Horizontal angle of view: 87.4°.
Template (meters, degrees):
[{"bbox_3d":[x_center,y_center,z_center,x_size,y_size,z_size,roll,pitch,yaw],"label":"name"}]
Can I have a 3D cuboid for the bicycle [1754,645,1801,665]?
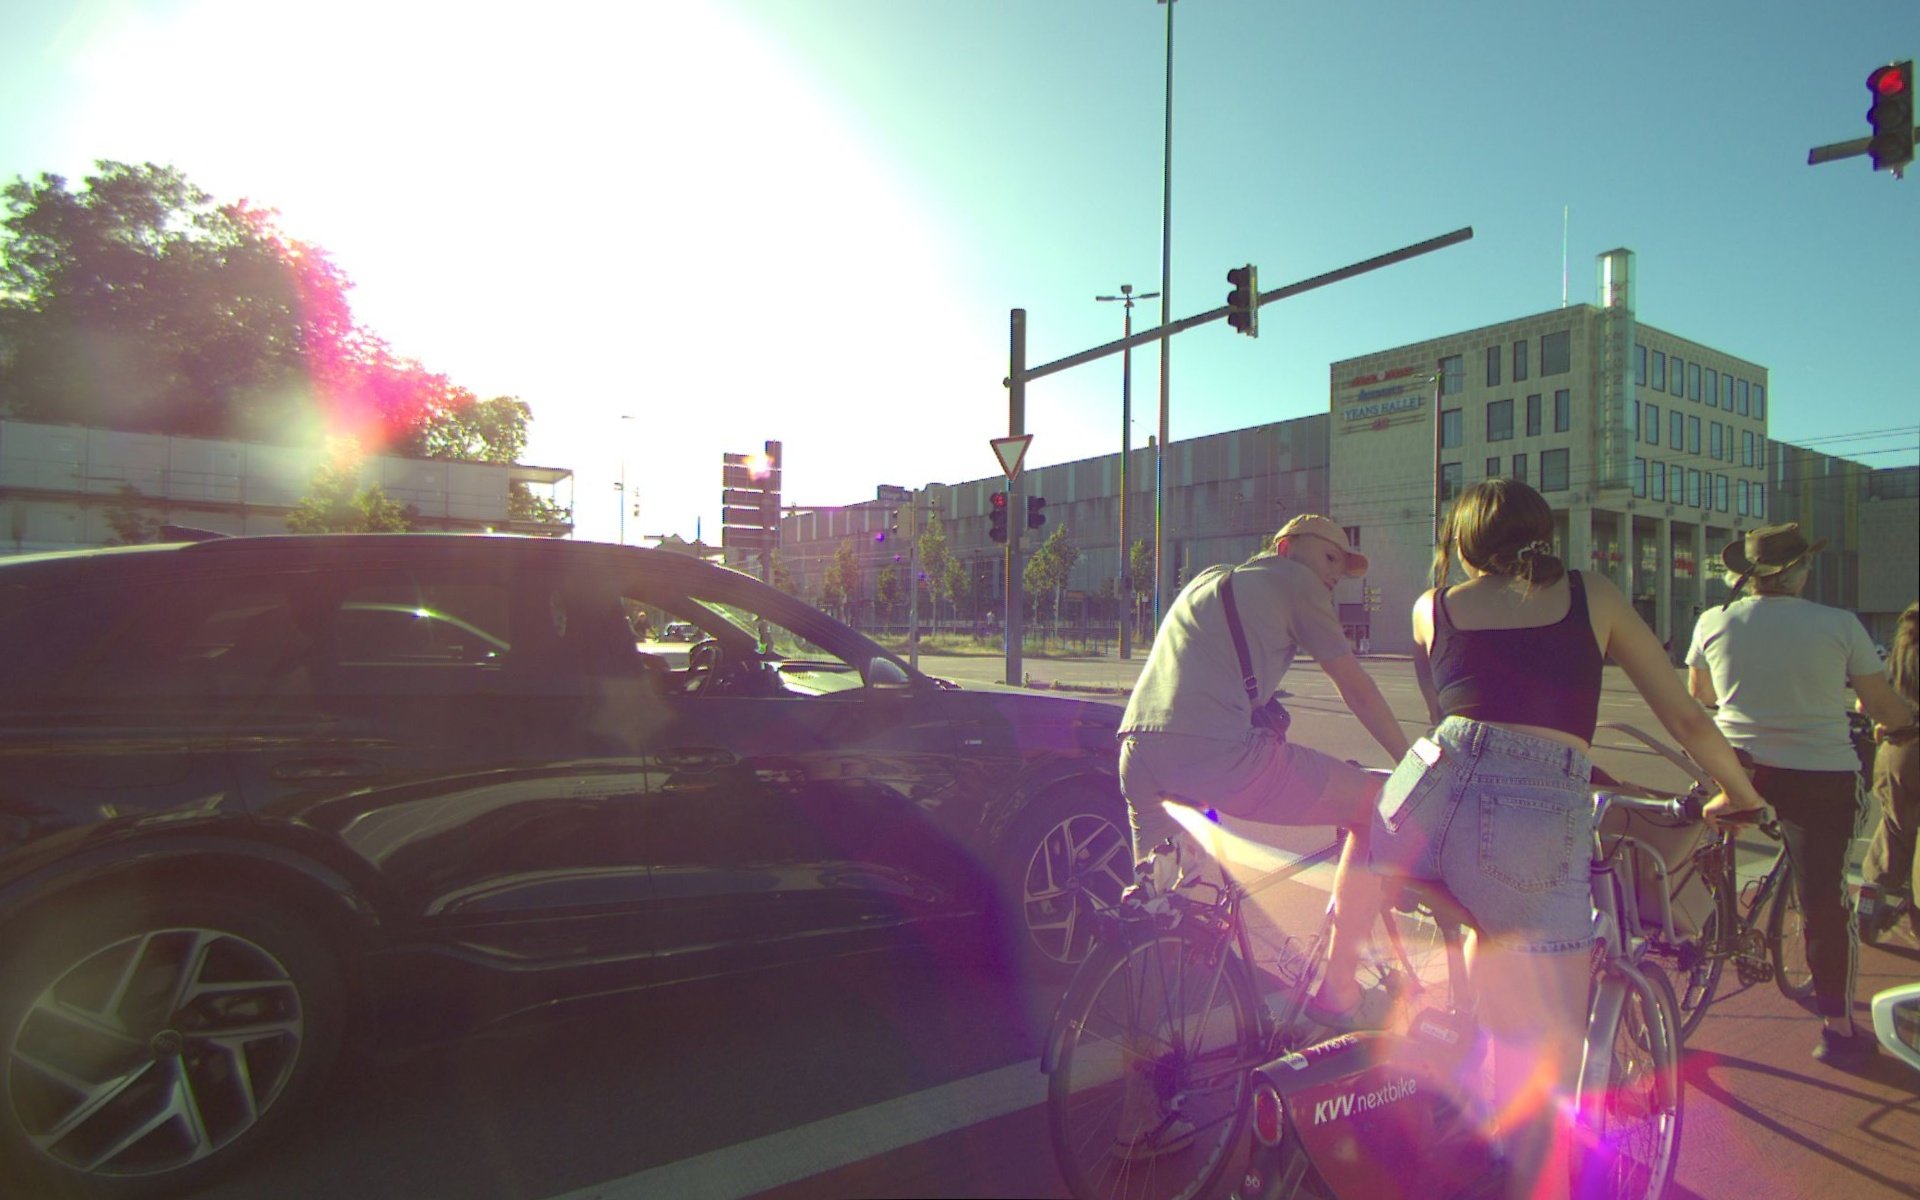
[{"bbox_3d":[52.902,3.545,65.021,0.605,1.238,2.295,1,-1,-31],"label":"bicycle"}]

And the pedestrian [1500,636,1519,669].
[{"bbox_3d":[33.224,3.174,60.694,0.780,1.910,0.709,2,0,-37],"label":"pedestrian"}]

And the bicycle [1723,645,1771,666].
[{"bbox_3d":[48.047,3.377,61.342,0.605,1.238,2.295,1,-1,-31],"label":"bicycle"}]

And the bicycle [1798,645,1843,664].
[{"bbox_3d":[59.824,3.781,69.855,0.605,1.238,2.295,1,-1,-31],"label":"bicycle"}]

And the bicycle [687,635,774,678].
[{"bbox_3d":[-8.278,2.031,36.269,2.905,1.388,0.970,2,0,16],"label":"bicycle"}]

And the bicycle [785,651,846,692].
[{"bbox_3d":[-5.699,2.787,39.415,0.962,1.388,2.930,2,0,-40],"label":"bicycle"}]

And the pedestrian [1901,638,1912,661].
[{"bbox_3d":[71.099,3.689,75.457,0.579,1.702,0.516,1,1,-43],"label":"pedestrian"}]

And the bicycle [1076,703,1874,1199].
[{"bbox_3d":[1.134,0.892,2.043,1.811,1.234,0.612,1,0,-33],"label":"bicycle"}]

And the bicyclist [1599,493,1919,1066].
[{"bbox_3d":[2.865,0.556,3.561,0.856,1.743,0.657,2,0,-30],"label":"bicyclist"}]

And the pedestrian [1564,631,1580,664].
[{"bbox_3d":[35.630,2.740,58.429,0.784,1.868,0.862,0,-1,32],"label":"pedestrian"}]

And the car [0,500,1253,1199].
[{"bbox_3d":[-1.158,0.630,3.879,4.630,1.656,1.760,1,0,-32],"label":"car"}]

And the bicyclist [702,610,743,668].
[{"bbox_3d":[-8.588,1.386,36.370,1.078,2.040,0.961,2,0,16],"label":"bicyclist"}]

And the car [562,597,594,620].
[{"bbox_3d":[-32.933,0.717,86.524,1.785,1.908,3.964,2,0,-33],"label":"car"}]

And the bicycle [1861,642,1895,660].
[{"bbox_3d":[67.300,3.761,73.660,1.774,1.223,0.512,1,0,13],"label":"bicycle"}]

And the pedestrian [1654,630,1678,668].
[{"bbox_3d":[39.066,2.726,55.568,0.767,2.040,0.876,2,0,-41],"label":"pedestrian"}]

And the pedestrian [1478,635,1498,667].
[{"bbox_3d":[32.333,3.118,61.493,0.710,1.910,0.779,2,0,-36],"label":"pedestrian"}]

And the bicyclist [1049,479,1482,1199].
[{"bbox_3d":[0.799,0.558,2.682,0.833,1.627,0.712,1,0,-32],"label":"bicyclist"}]

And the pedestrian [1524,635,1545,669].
[{"bbox_3d":[33.397,3.016,58.382,0.710,1.910,0.779,2,0,-36],"label":"pedestrian"}]

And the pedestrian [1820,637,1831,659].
[{"bbox_3d":[69.051,3.810,80.144,0.610,1.702,0.565,1,0,-39],"label":"pedestrian"}]

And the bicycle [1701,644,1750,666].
[{"bbox_3d":[45.763,3.301,60.087,0.605,1.238,2.295,1,-1,-31],"label":"bicycle"}]

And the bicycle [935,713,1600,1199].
[{"bbox_3d":[0.936,0.952,2.779,1.949,1.124,0.643,1,0,-33],"label":"bicycle"}]

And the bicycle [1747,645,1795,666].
[{"bbox_3d":[51.278,3.487,63.554,0.605,1.238,2.295,1,-1,-31],"label":"bicycle"}]

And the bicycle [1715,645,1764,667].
[{"bbox_3d":[46.964,3.340,60.531,0.605,1.238,2.295,1,-1,-31],"label":"bicycle"}]

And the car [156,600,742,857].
[{"bbox_3d":[-3.590,0.787,7.505,3.562,1.505,1.485,1,0,-30],"label":"car"}]

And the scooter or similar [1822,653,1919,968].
[{"bbox_3d":[4.488,0.926,4.722,1.186,1.311,0.541,2,0,-45],"label":"scooter or similar"}]

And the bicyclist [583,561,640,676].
[{"bbox_3d":[-9.742,0.522,28.083,1.292,3.144,0.835,2,0,-32],"label":"bicyclist"}]

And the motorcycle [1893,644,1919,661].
[{"bbox_3d":[70.740,3.925,74.857,0.508,1.223,1.786,1,0,-44],"label":"motorcycle"}]

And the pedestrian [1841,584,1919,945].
[{"bbox_3d":[4.629,0.762,4.814,0.568,1.654,0.543,2,0,-45],"label":"pedestrian"}]

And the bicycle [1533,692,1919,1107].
[{"bbox_3d":[2.875,0.961,3.688,1.810,1.171,0.482,2,0,-31],"label":"bicycle"}]

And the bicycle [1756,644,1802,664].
[{"bbox_3d":[54.282,3.595,66.569,0.605,1.238,2.295,1,-1,-31],"label":"bicycle"}]

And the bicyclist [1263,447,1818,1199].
[{"bbox_3d":[1.179,0.568,2.062,0.866,1.600,0.638,1,0,-33],"label":"bicyclist"}]

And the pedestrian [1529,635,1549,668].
[{"bbox_3d":[34.407,3.053,59.694,0.710,1.910,0.779,2,0,-36],"label":"pedestrian"}]

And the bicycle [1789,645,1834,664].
[{"bbox_3d":[58.853,3.749,69.431,0.605,1.238,2.295,1,-1,-31],"label":"bicycle"}]

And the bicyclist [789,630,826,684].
[{"bbox_3d":[-6.036,2.251,39.817,0.985,2.040,1.088,2,0,-40],"label":"bicyclist"}]

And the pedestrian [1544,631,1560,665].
[{"bbox_3d":[34.218,2.753,58.025,0.705,1.910,0.785,2,0,33],"label":"pedestrian"}]

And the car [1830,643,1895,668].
[{"bbox_3d":[49.783,3.076,55.413,3.956,1.359,1.621,2,-4,-32],"label":"car"}]

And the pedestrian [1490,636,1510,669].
[{"bbox_3d":[32.162,3.138,59.873,0.710,1.910,0.779,2,0,-36],"label":"pedestrian"}]

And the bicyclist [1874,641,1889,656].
[{"bbox_3d":[67.495,3.553,73.602,0.612,1.099,0.512,1,0,13],"label":"bicyclist"}]

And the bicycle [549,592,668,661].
[{"bbox_3d":[-9.792,0.711,28.058,3.047,1.835,0.835,0,1,-32],"label":"bicycle"}]

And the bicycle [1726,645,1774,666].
[{"bbox_3d":[48.697,3.400,61.963,0.605,1.238,2.295,1,-1,-31],"label":"bicycle"}]

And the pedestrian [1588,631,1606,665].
[{"bbox_3d":[35.872,2.703,56.588,0.784,1.868,0.863,0,-1,29],"label":"pedestrian"}]

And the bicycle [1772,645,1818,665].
[{"bbox_3d":[55.520,3.634,66.832,0.605,1.238,2.295,1,-1,-31],"label":"bicycle"}]
